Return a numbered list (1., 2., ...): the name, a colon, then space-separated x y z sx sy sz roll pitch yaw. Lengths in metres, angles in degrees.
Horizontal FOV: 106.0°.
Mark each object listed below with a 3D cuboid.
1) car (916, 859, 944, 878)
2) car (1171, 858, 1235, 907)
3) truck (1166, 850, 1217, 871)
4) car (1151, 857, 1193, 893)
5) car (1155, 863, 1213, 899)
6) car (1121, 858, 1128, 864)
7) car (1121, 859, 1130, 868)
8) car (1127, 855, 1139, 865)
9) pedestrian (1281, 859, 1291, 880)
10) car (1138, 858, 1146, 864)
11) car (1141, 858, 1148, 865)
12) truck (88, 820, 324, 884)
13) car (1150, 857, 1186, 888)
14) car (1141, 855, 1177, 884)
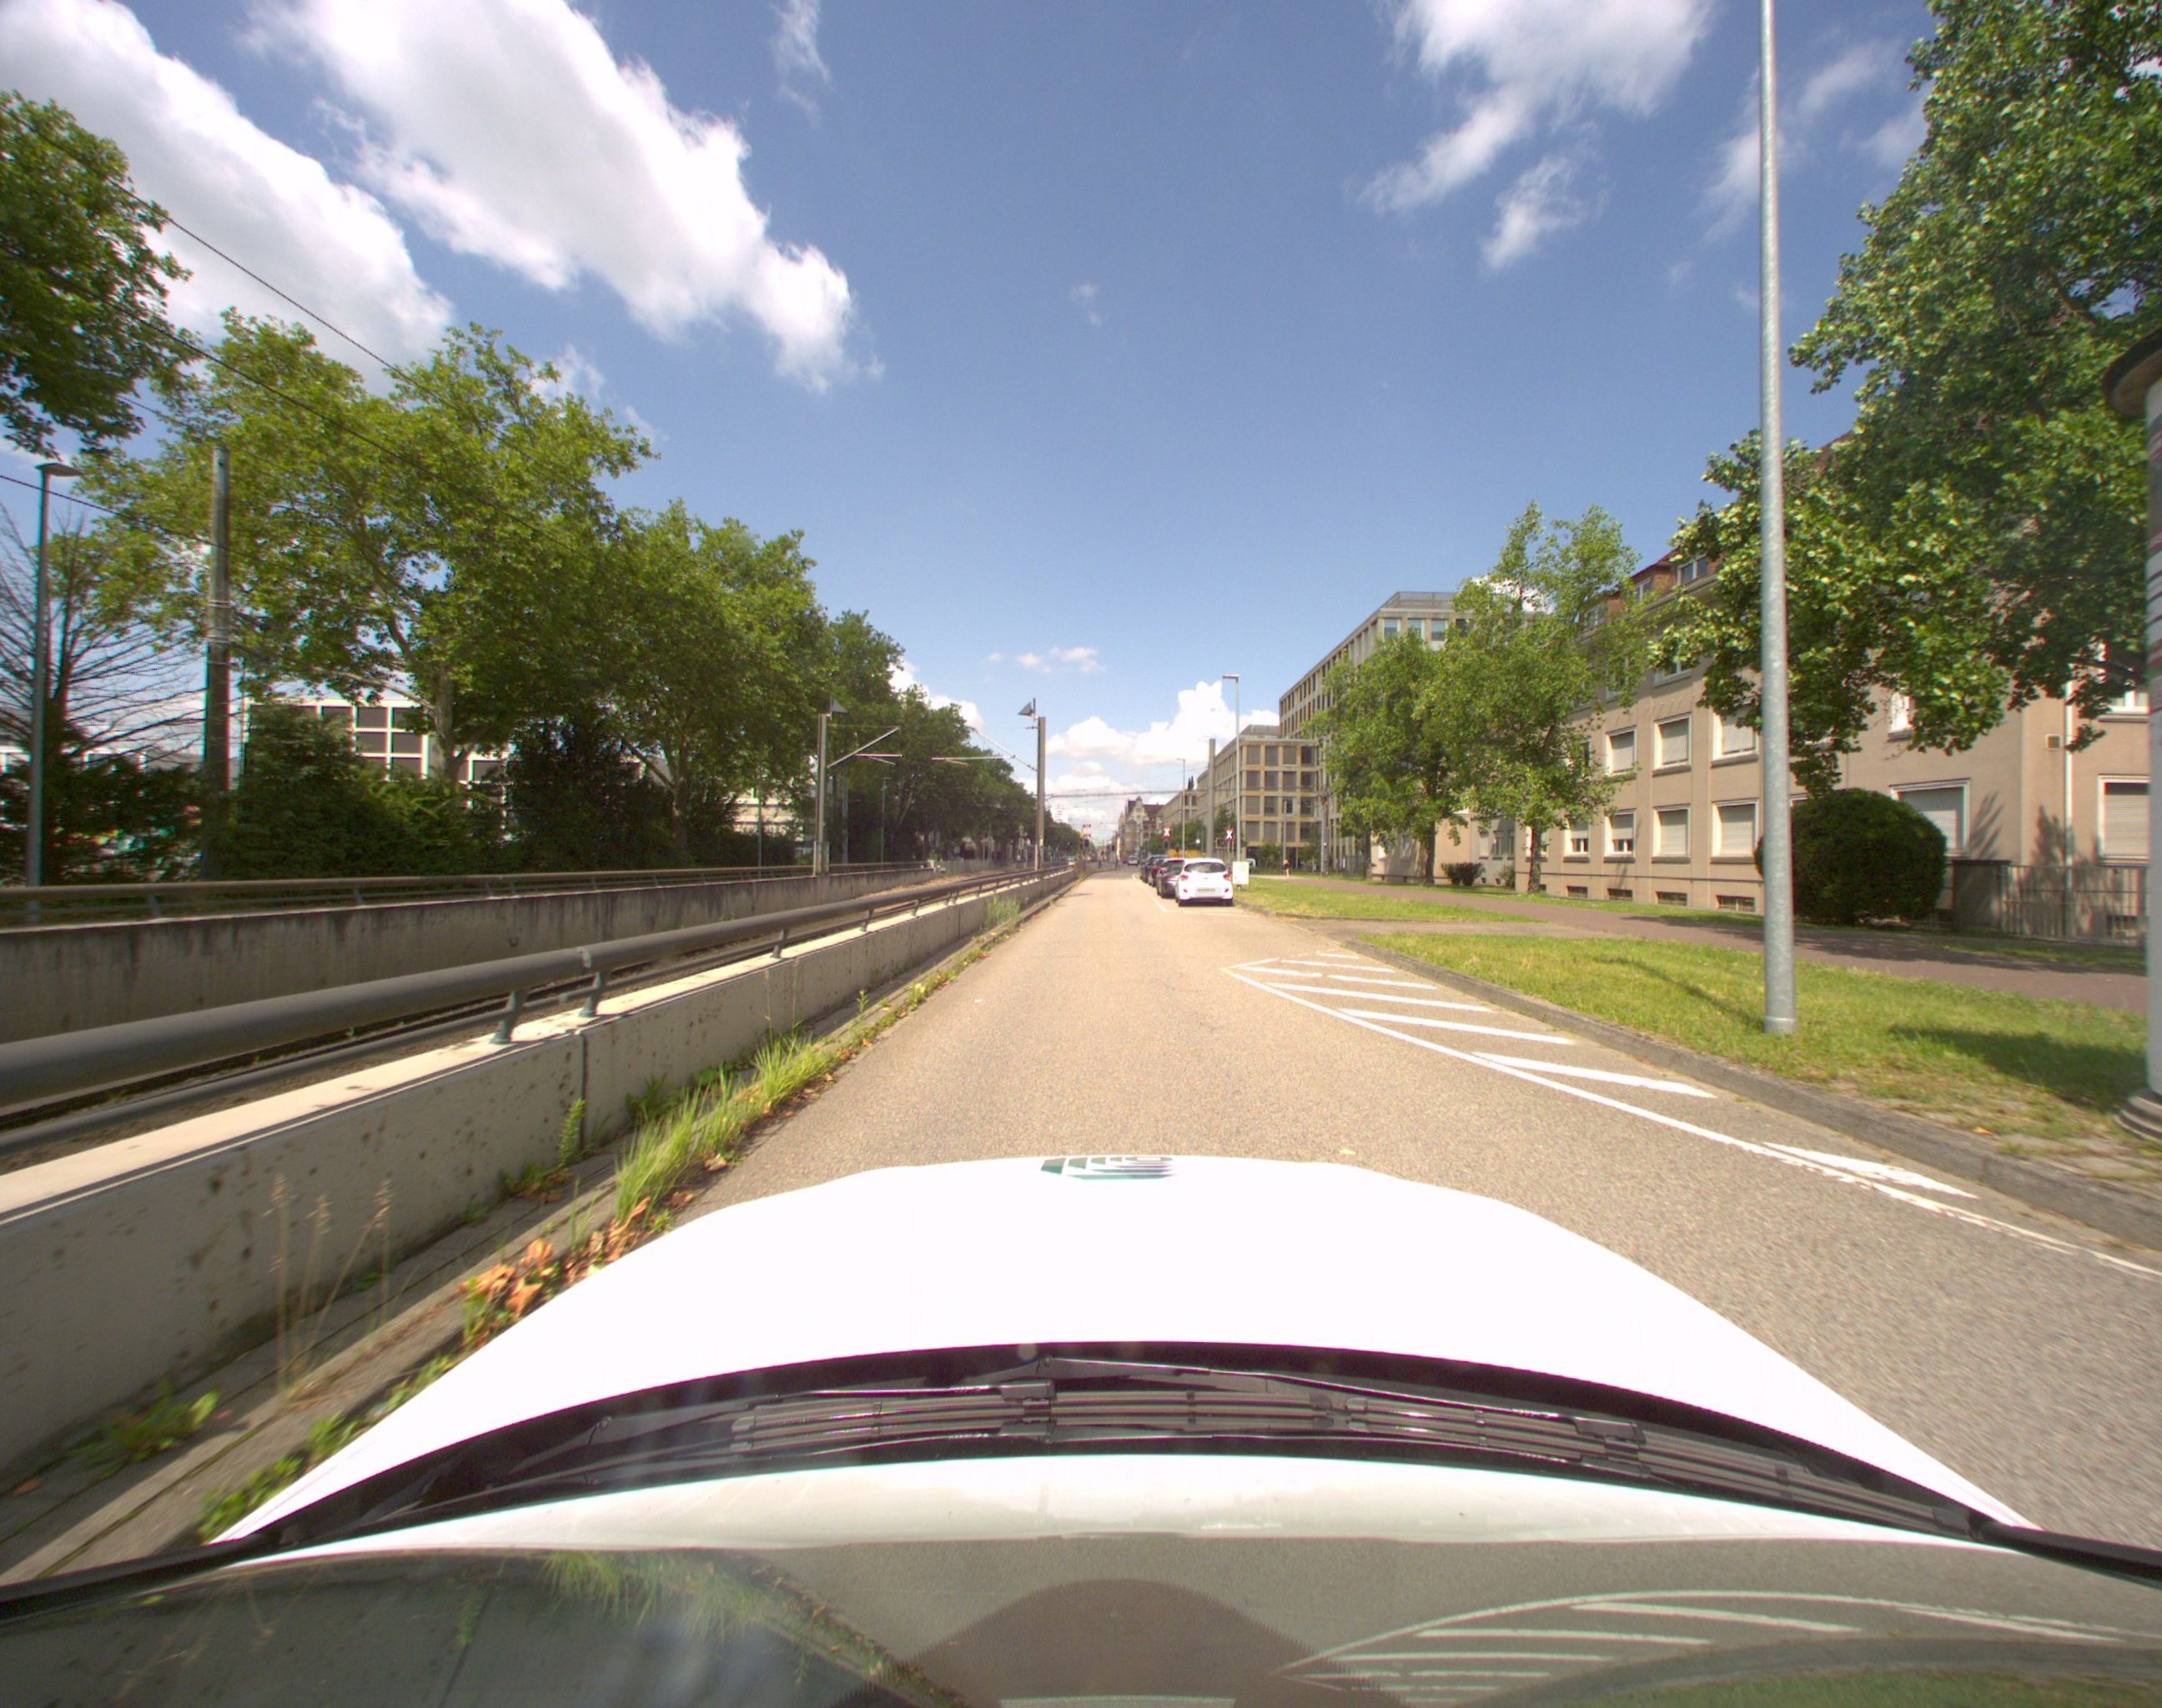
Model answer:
1. car: -13.527 1.293 73.147 1.661 1.597 4.299 0 0 2
2. car: 3.911 0.871 26.598 1.700 1.479 3.792 0 -1 3
3. truck: 15.580 0.913 115.110 6.786 2.867 2.453 1 -1 -1
4. car: 4.017 0.909 36.406 1.662 1.515 3.854 0 -1 3
5. car: 3.896 0.989 31.549 1.817 1.312 4.444 0 -1 2
6. car: 10.426 1.616 196.713 1.438 1.470 4.091 -1 -1 0
7. car: 10.720 2.256 196.372 1.986 2.014 4.001 -1 -1 2
8. car: 9.202 1.027 144.745 1.862 1.746 4.000 2 -1 1
9. pedestrian: 15.581 1.184 61.919 0.620 1.608 0.624 0 -1 -1
10. car: 15.753 1.823 211.371 1.586 1.434 4.106 3 0 0
11. car: 15.500 1.824 200.262 1.585 1.460 3.615 2 0 3
12. truck: -40.802 -0.052 38.095 8.788 2.793 2.710 -1 -1 6
13. car: 4.475 0.917 42.518 1.637 1.530 4.445 0 -1 3
14. car: 4.613 0.880 48.618 1.809 1.662 4.672 0 0 2
